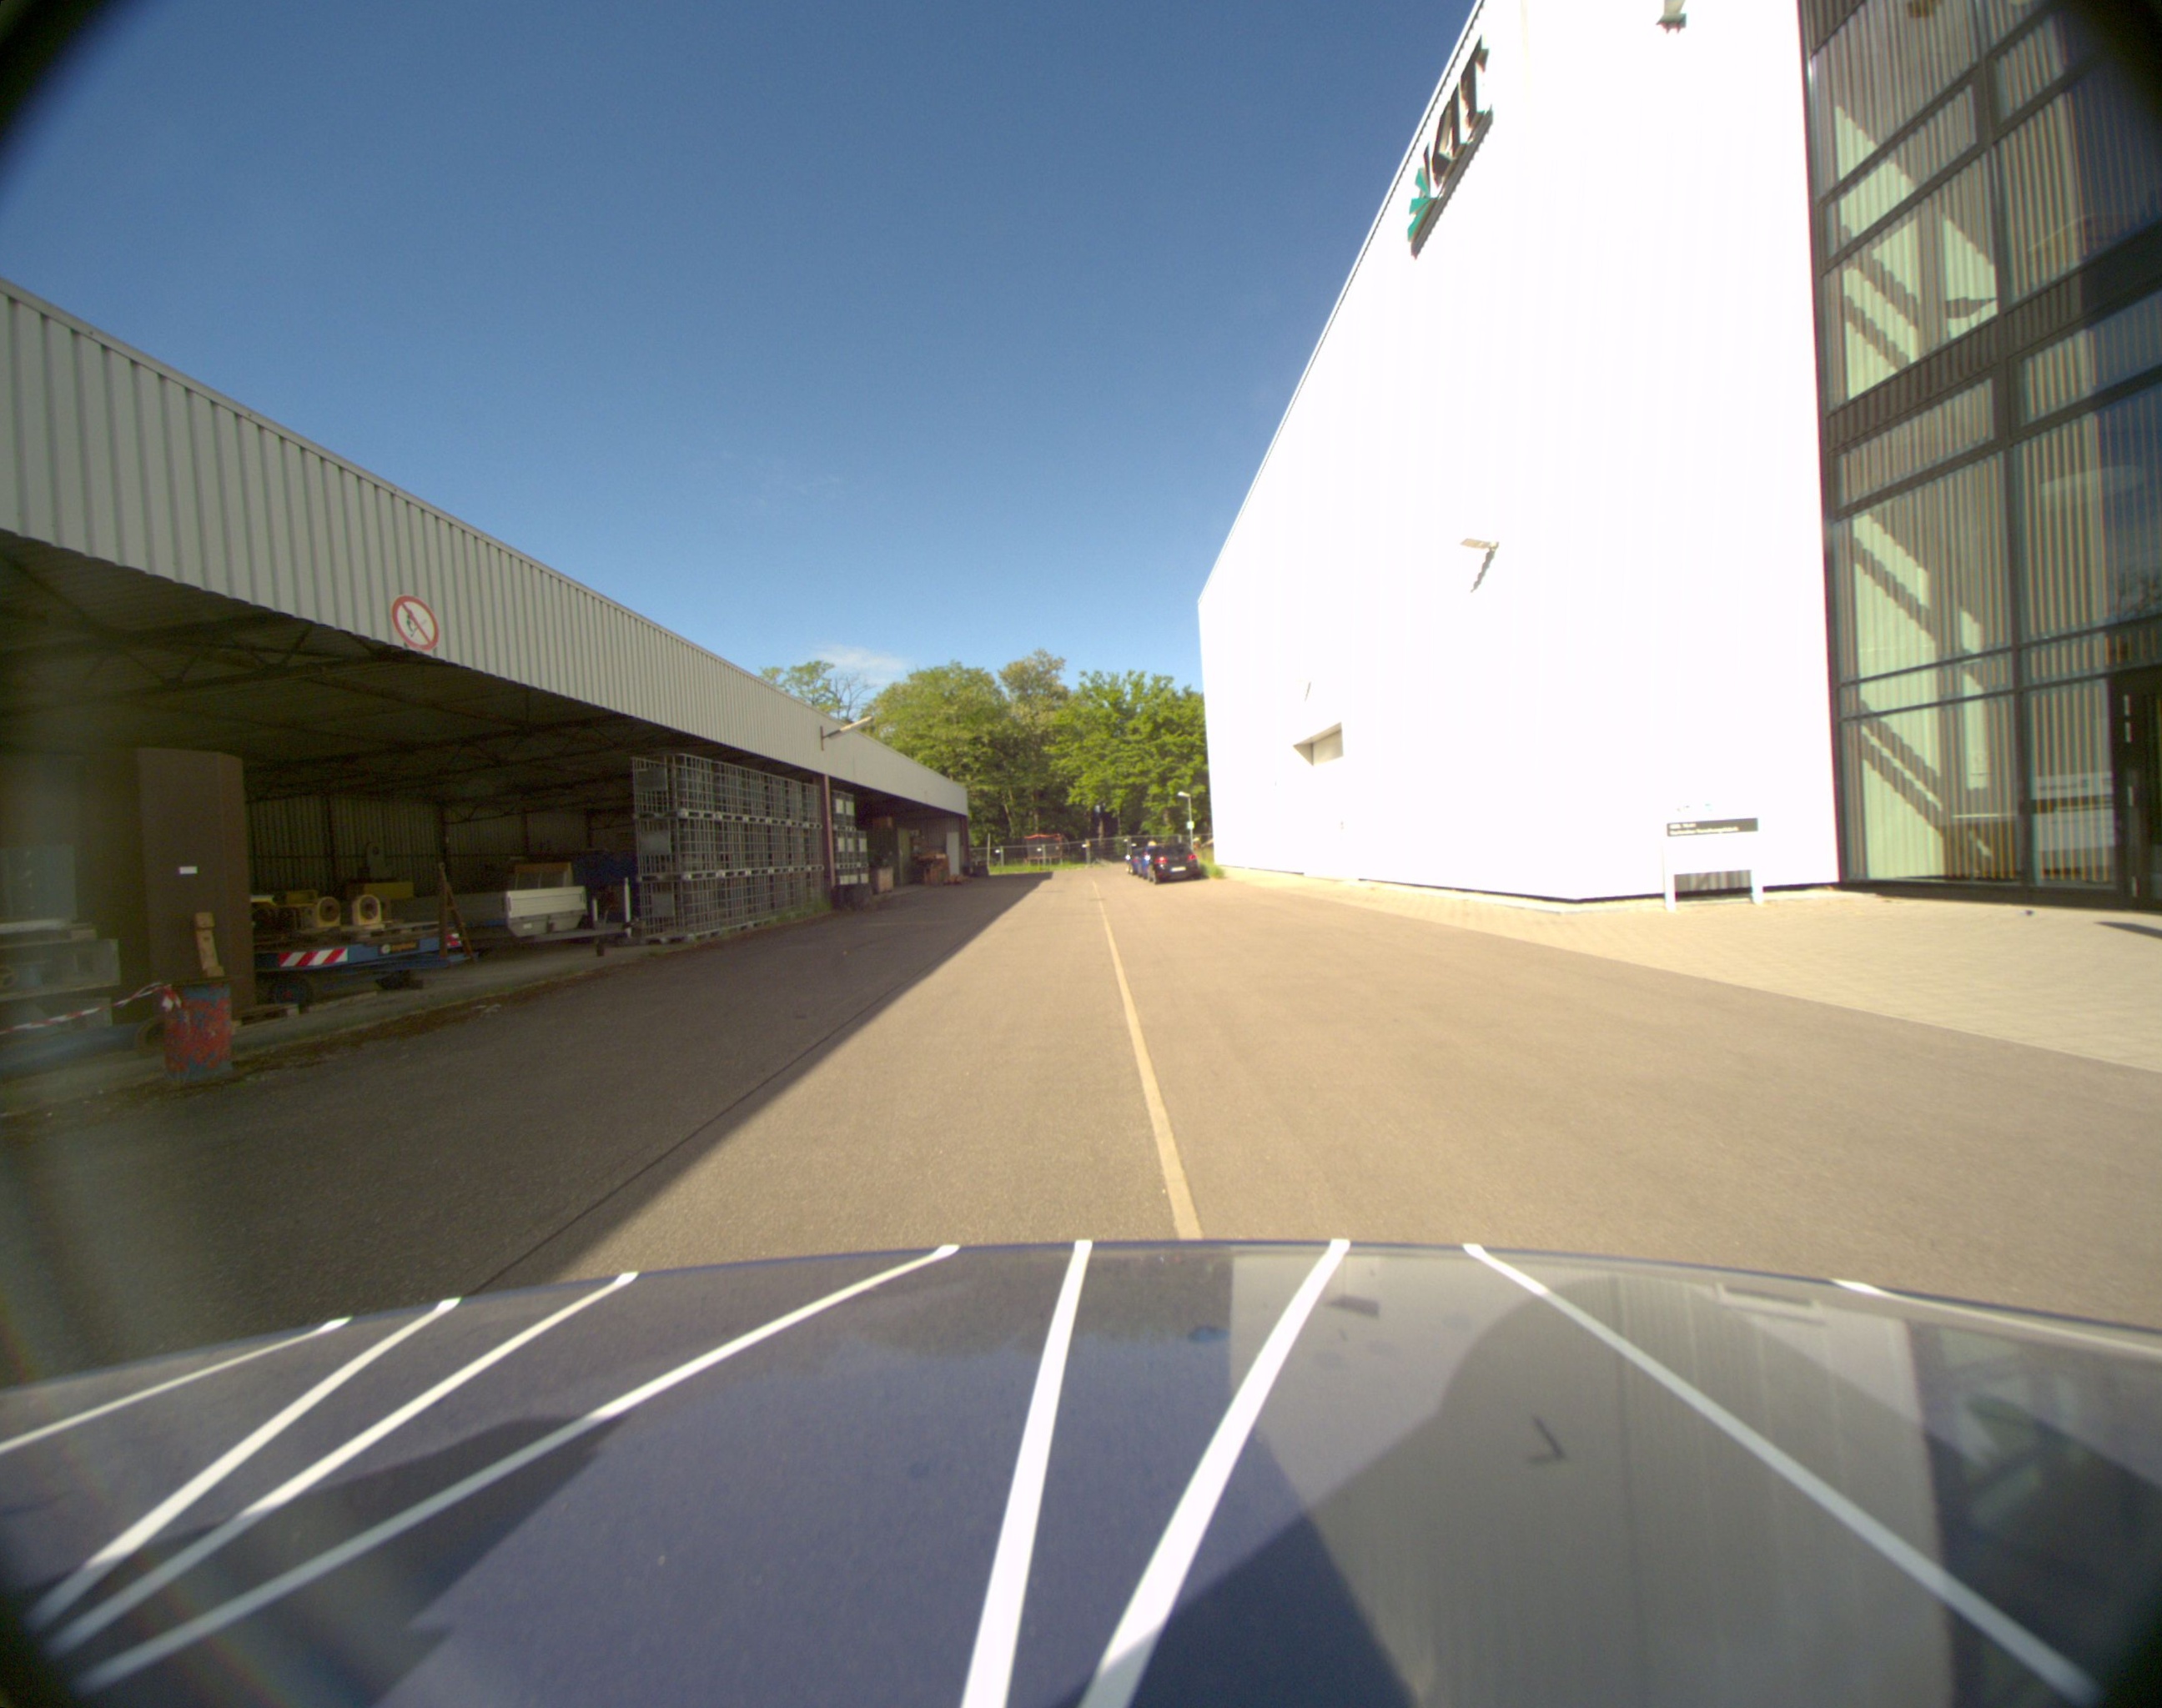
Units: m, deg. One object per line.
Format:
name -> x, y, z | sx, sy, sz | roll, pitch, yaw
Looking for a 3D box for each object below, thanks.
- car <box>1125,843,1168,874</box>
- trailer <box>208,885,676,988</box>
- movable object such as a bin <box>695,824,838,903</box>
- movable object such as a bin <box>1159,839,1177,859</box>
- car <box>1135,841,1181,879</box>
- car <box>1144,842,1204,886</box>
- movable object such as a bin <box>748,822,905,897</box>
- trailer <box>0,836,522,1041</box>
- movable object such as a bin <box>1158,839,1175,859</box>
car -> 3.411, 0.228, 39.995 | 1.716, 1.440, 3.797 | -5, 0, -1
trailer -> -9.942, 1.260, 12.205 | 5.743, 1.178, 1.974 | -2, 1, -1
movable object such as a bin -> -12.543, 0.373, 30.551 | 4.537, 2.814, 2.497 | -3, 1, 1
movable object such as a bin -> 6.378, -0.342, 55.721 | 1.141, 1.426, 1.289 | -2, 1, 1
car -> 3.433, 0.253, 34.484 | 1.552, 1.480, 3.521 | -5, 0, -1
car -> 3.548, 0.342, 29.741 | 1.760, 1.437, 4.314 | -5, 0, 1
movable object such as a bin -> -11.177, 0.224, 33.815 | 5.848, 2.908, 2.820 | -3, 1, 1
trailer -> -9.569, 0.866, 8.855 | 4.433, 1.979, 2.162 | -2, 1, 2
movable object such as a bin -> 6.403, -0.355, 57.085 | 1.141, 1.469, 1.280 | -2, 0, 1
